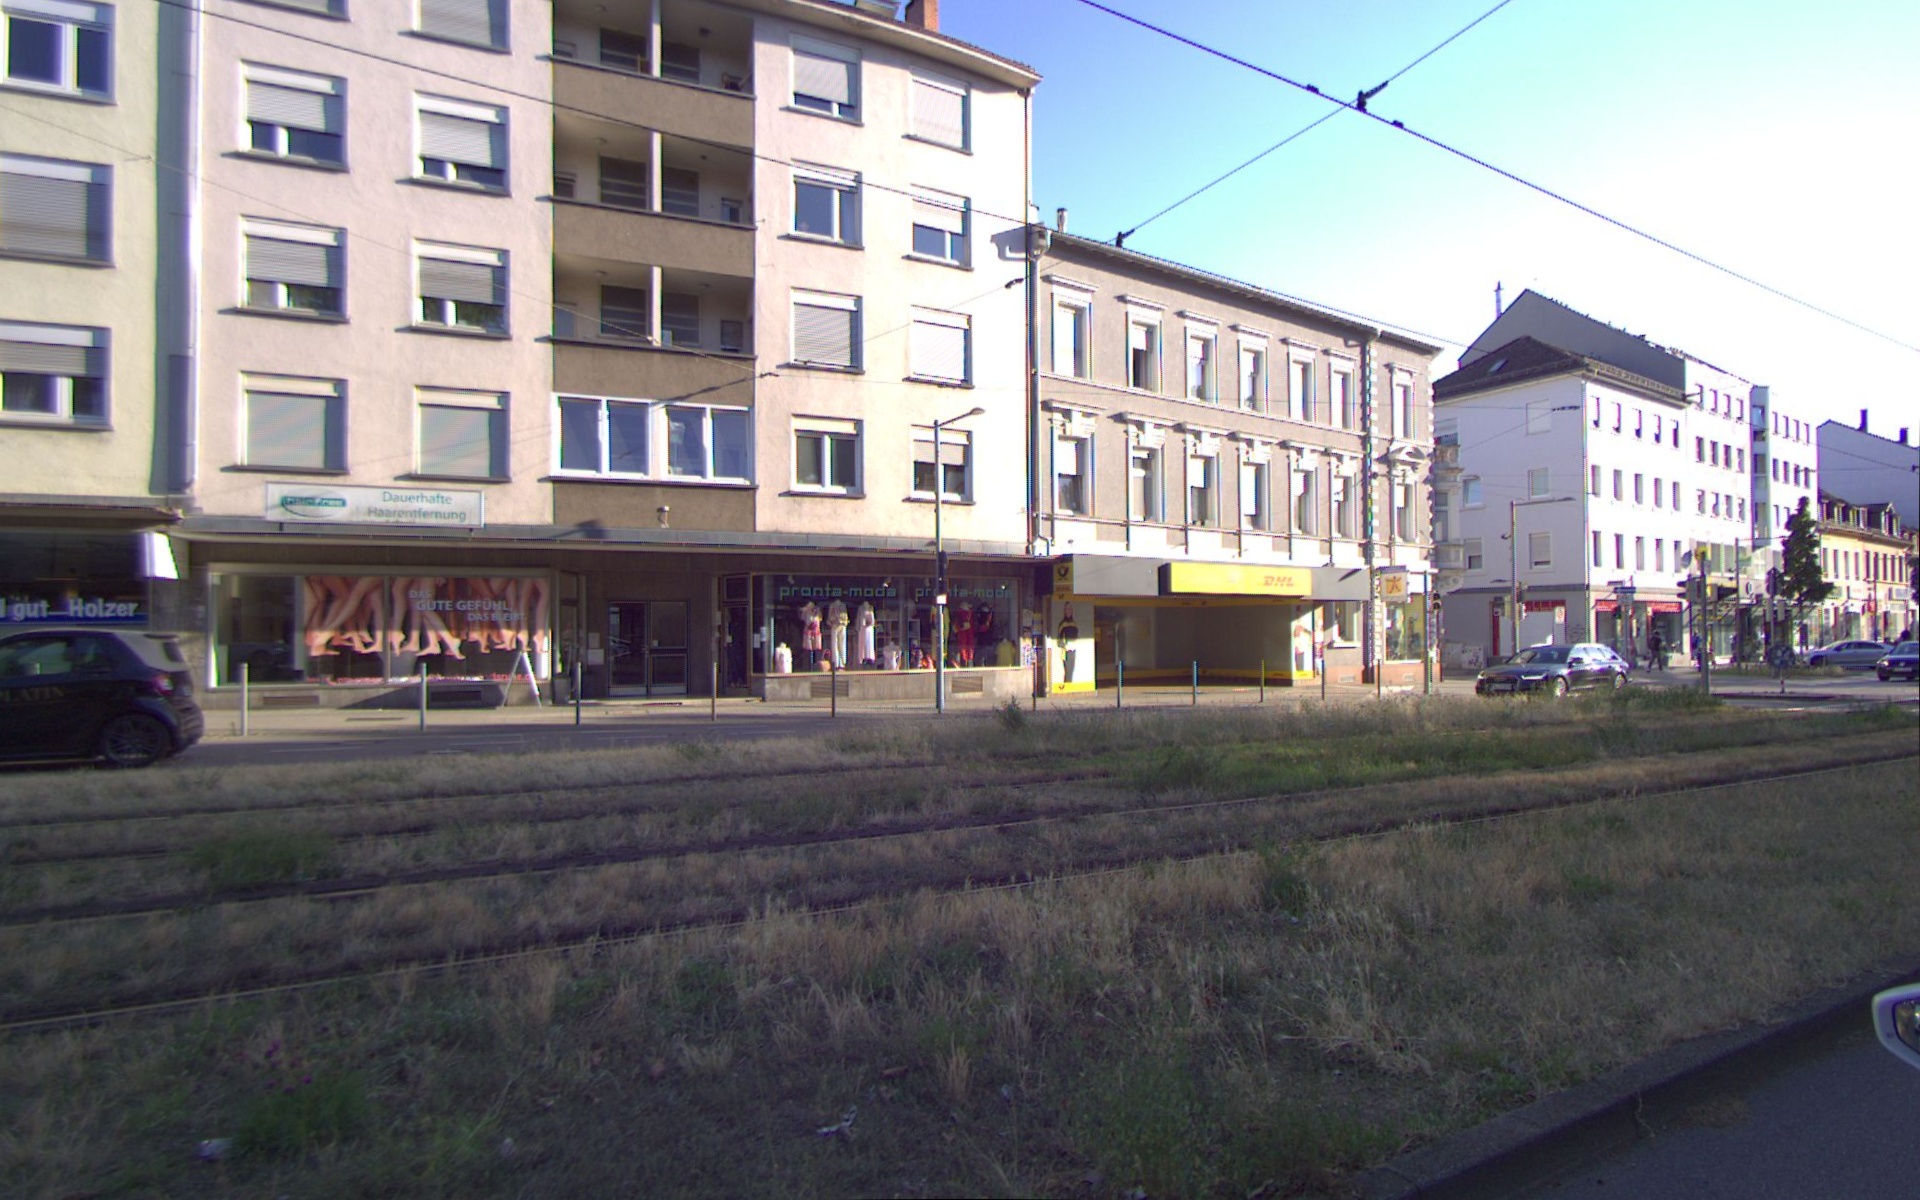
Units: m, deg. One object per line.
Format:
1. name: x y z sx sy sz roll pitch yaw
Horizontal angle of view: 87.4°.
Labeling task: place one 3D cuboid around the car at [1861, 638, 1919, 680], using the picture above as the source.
1. car: 35.522 2.159 37.322 3.994 1.469 1.774 0 -3 -29

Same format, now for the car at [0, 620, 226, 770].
1. car: -10.289 1.017 10.966 3.434 1.528 1.715 2 -4 -30

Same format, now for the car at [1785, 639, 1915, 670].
1. car: 44.416 2.679 50.272 4.465 1.431 1.999 0 -2 24

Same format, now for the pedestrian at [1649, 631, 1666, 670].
1. pedestrian: 30.900 2.239 44.486 0.501 1.736 0.424 1 -2 -26

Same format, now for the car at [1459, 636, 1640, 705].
1. car: 15.028 1.743 25.560 4.719 1.579 1.984 2 -2 -31
